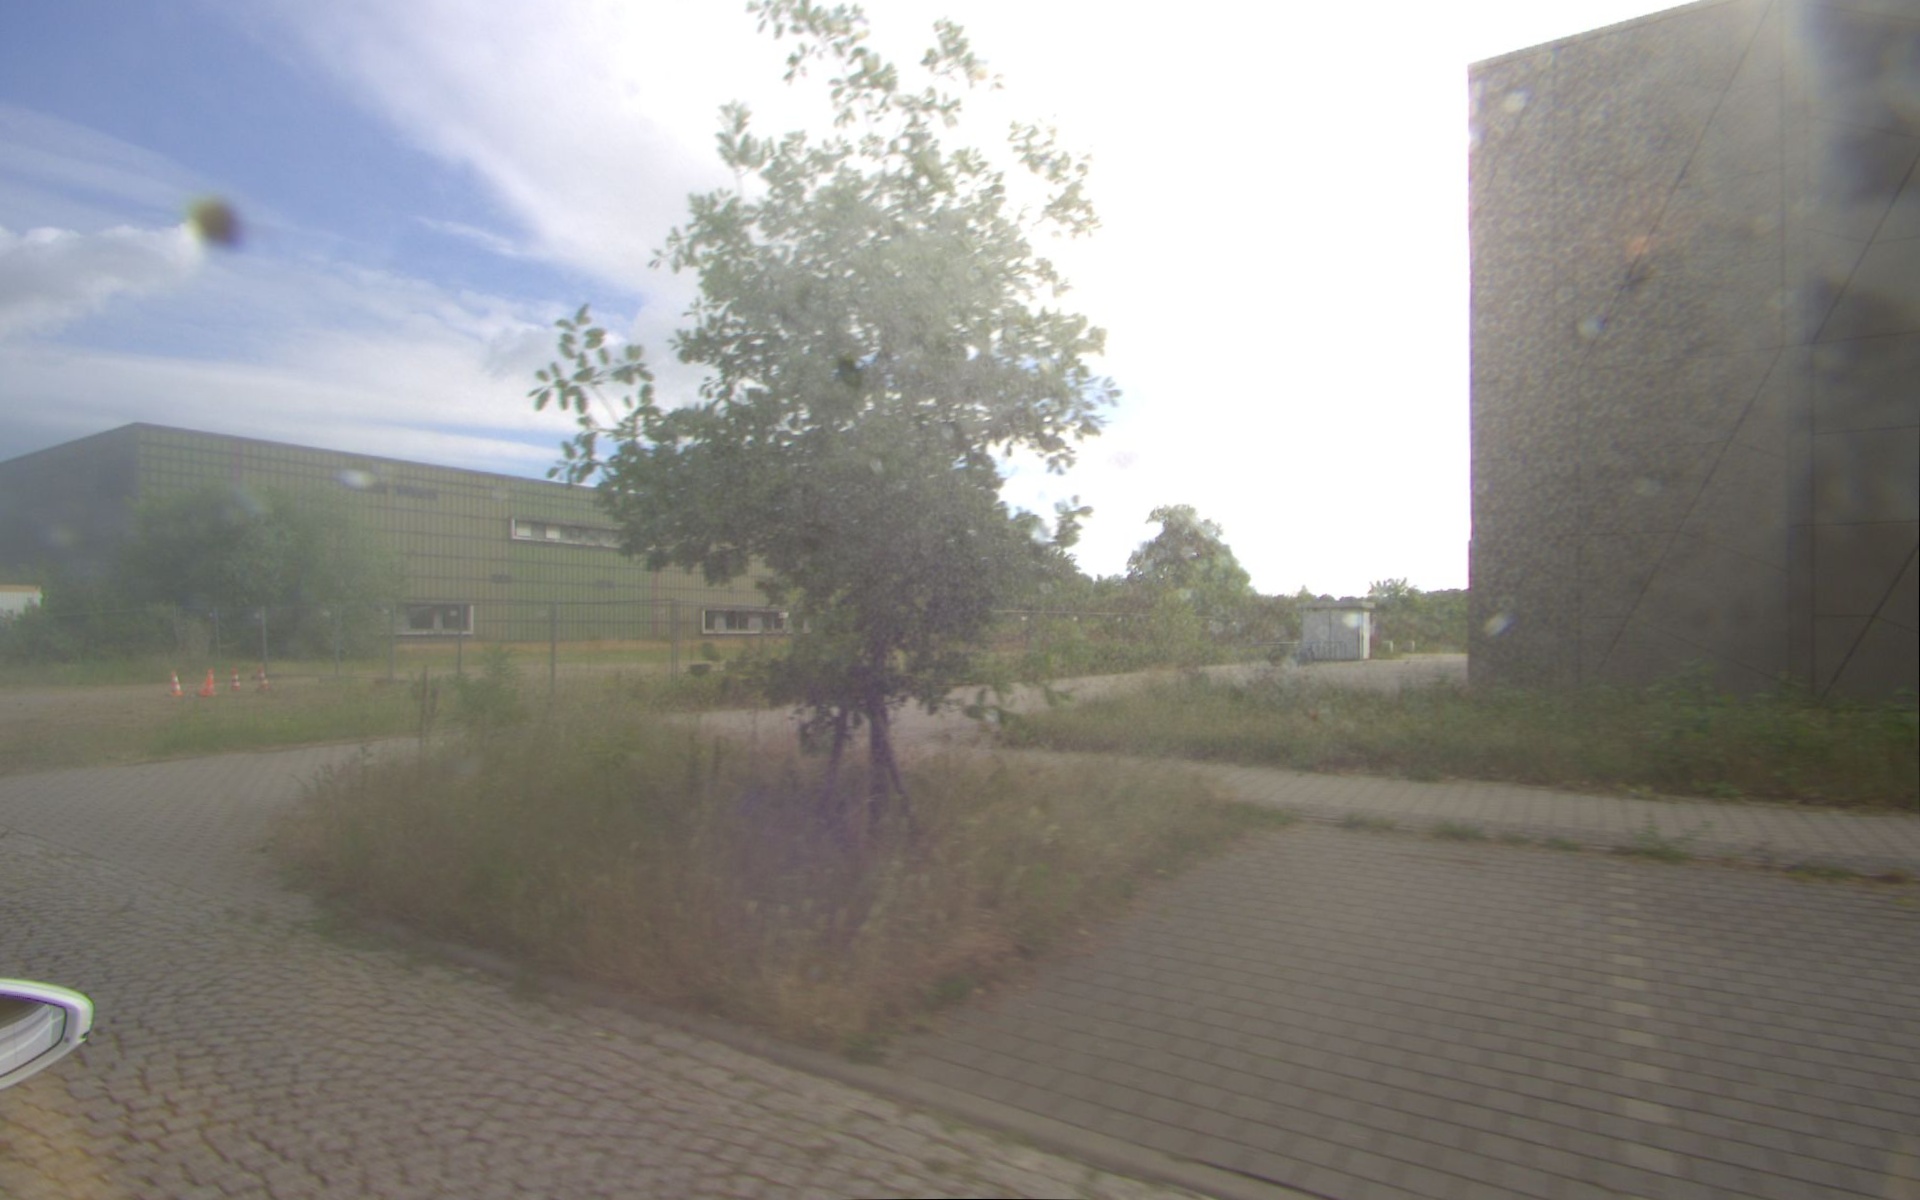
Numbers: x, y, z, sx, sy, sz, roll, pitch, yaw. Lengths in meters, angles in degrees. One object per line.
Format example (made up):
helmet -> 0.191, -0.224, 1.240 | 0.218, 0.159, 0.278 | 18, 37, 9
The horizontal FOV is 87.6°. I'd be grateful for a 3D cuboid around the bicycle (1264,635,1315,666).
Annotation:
bicycle -> 12.284, 1.882, 37.314 | 1.740, 1.112, 0.519 | -1, -3, 34
